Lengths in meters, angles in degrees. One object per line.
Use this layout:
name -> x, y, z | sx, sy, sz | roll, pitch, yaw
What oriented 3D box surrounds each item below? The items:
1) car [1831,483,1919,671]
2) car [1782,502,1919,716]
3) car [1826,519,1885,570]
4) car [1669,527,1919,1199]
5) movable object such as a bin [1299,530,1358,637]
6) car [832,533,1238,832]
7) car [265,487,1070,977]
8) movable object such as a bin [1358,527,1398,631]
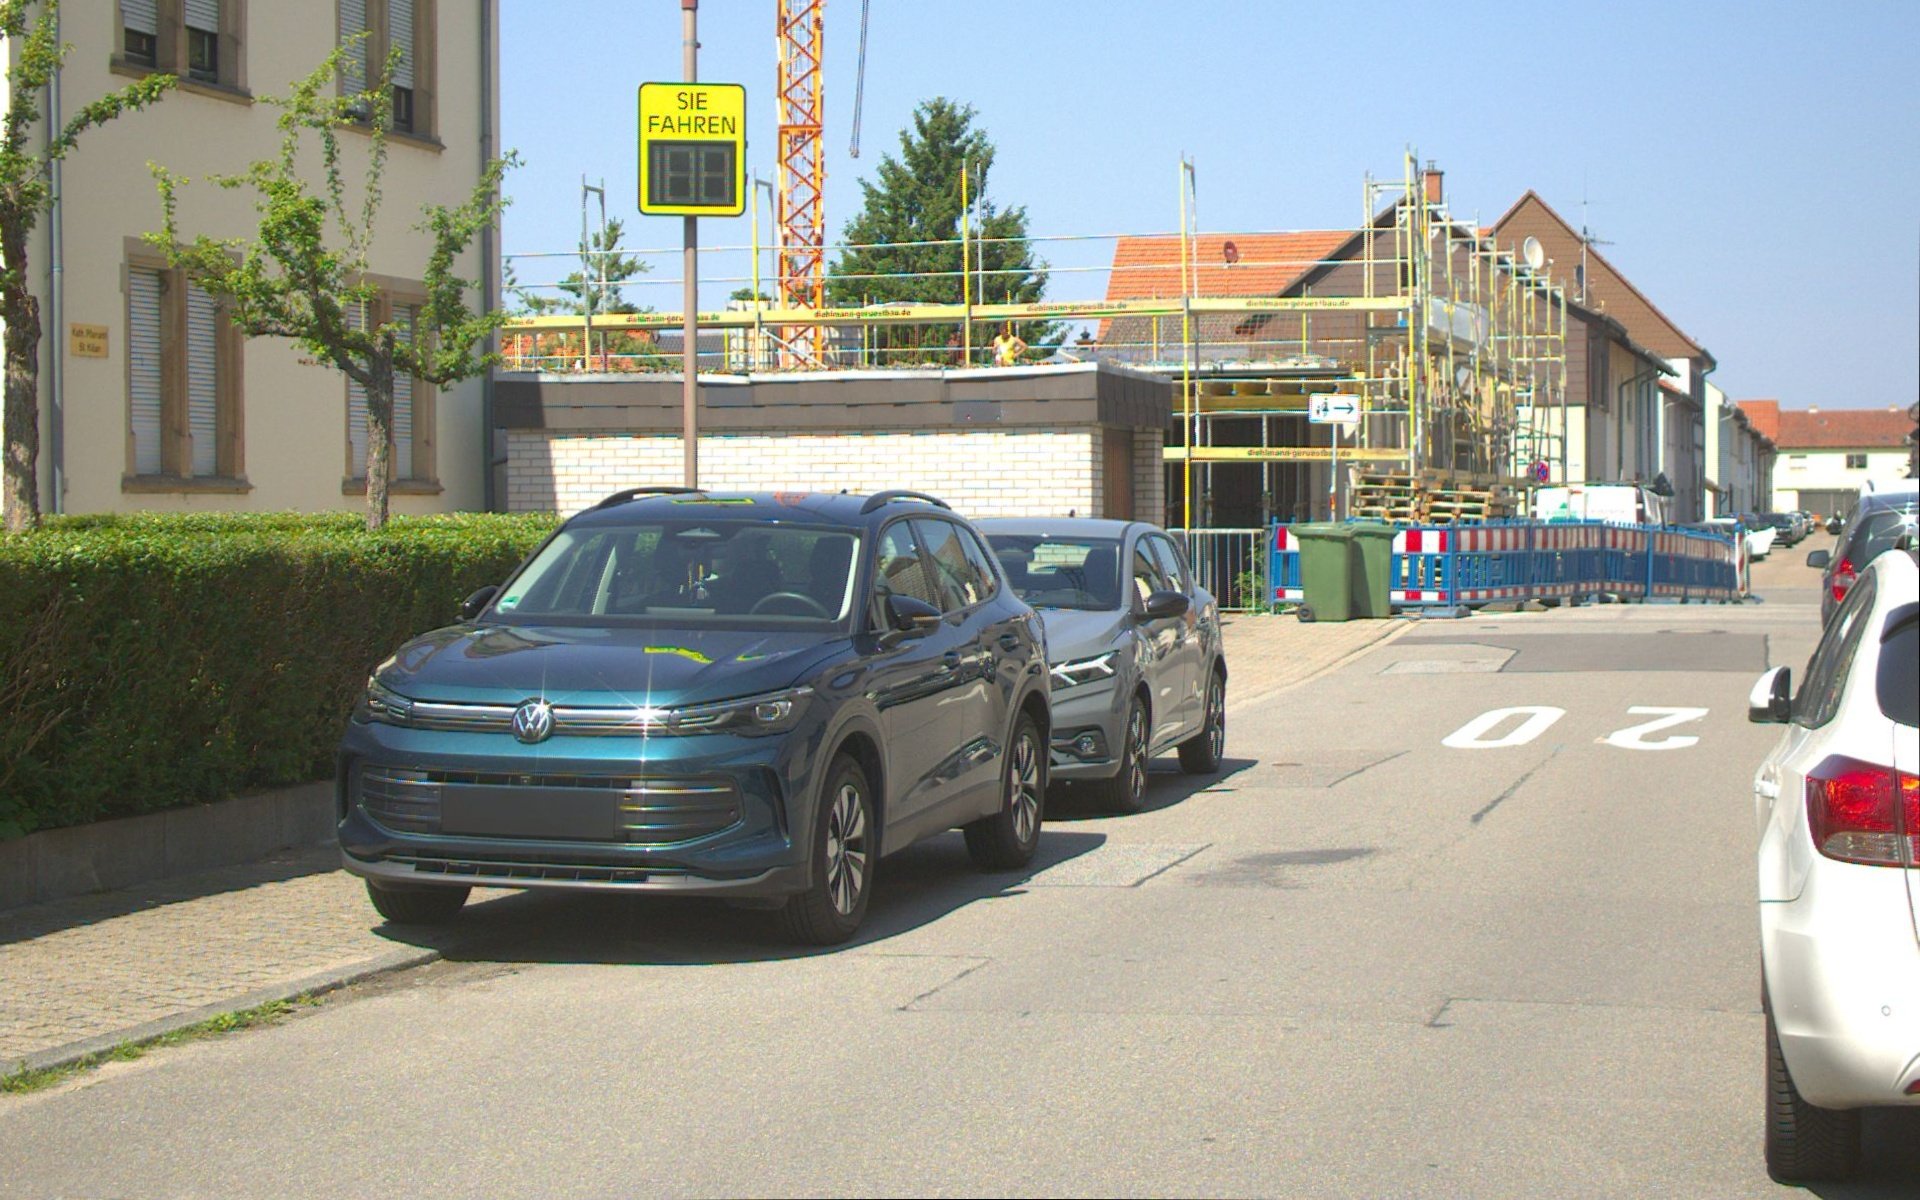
car -> 9.187, -0.266, 33.017 | 1.565, 1.607, 3.541 | 0, 4, 15
car -> 7.764, -0.004, 28.033 | 1.885, 1.550, 3.892 | -4, 1, 12
car -> 25.547, -1.595, 98.133 | 1.556, 1.382, 3.448 | 0, 2, 13
car -> 2.884, 0.585, 8.890 | 1.887, 1.536, 4.241 | 0, 1, 9
movable object such as a bin -> 4.064, -0.185, 37.875 | 0.622, 1.151, 0.677 | 0, 1, 8
car -> 0.511, 0.376, 18.923 | 1.437, 1.469, 3.784 | 0, 1, 14
car -> -0.954, 0.387, 13.680 | 1.827, 1.625, 4.214 | 0, 1, 16
movable object such as a bin -> 4.642, -0.235, 38.214 | 0.431, 1.151, 0.364 | 0, 1, 5
